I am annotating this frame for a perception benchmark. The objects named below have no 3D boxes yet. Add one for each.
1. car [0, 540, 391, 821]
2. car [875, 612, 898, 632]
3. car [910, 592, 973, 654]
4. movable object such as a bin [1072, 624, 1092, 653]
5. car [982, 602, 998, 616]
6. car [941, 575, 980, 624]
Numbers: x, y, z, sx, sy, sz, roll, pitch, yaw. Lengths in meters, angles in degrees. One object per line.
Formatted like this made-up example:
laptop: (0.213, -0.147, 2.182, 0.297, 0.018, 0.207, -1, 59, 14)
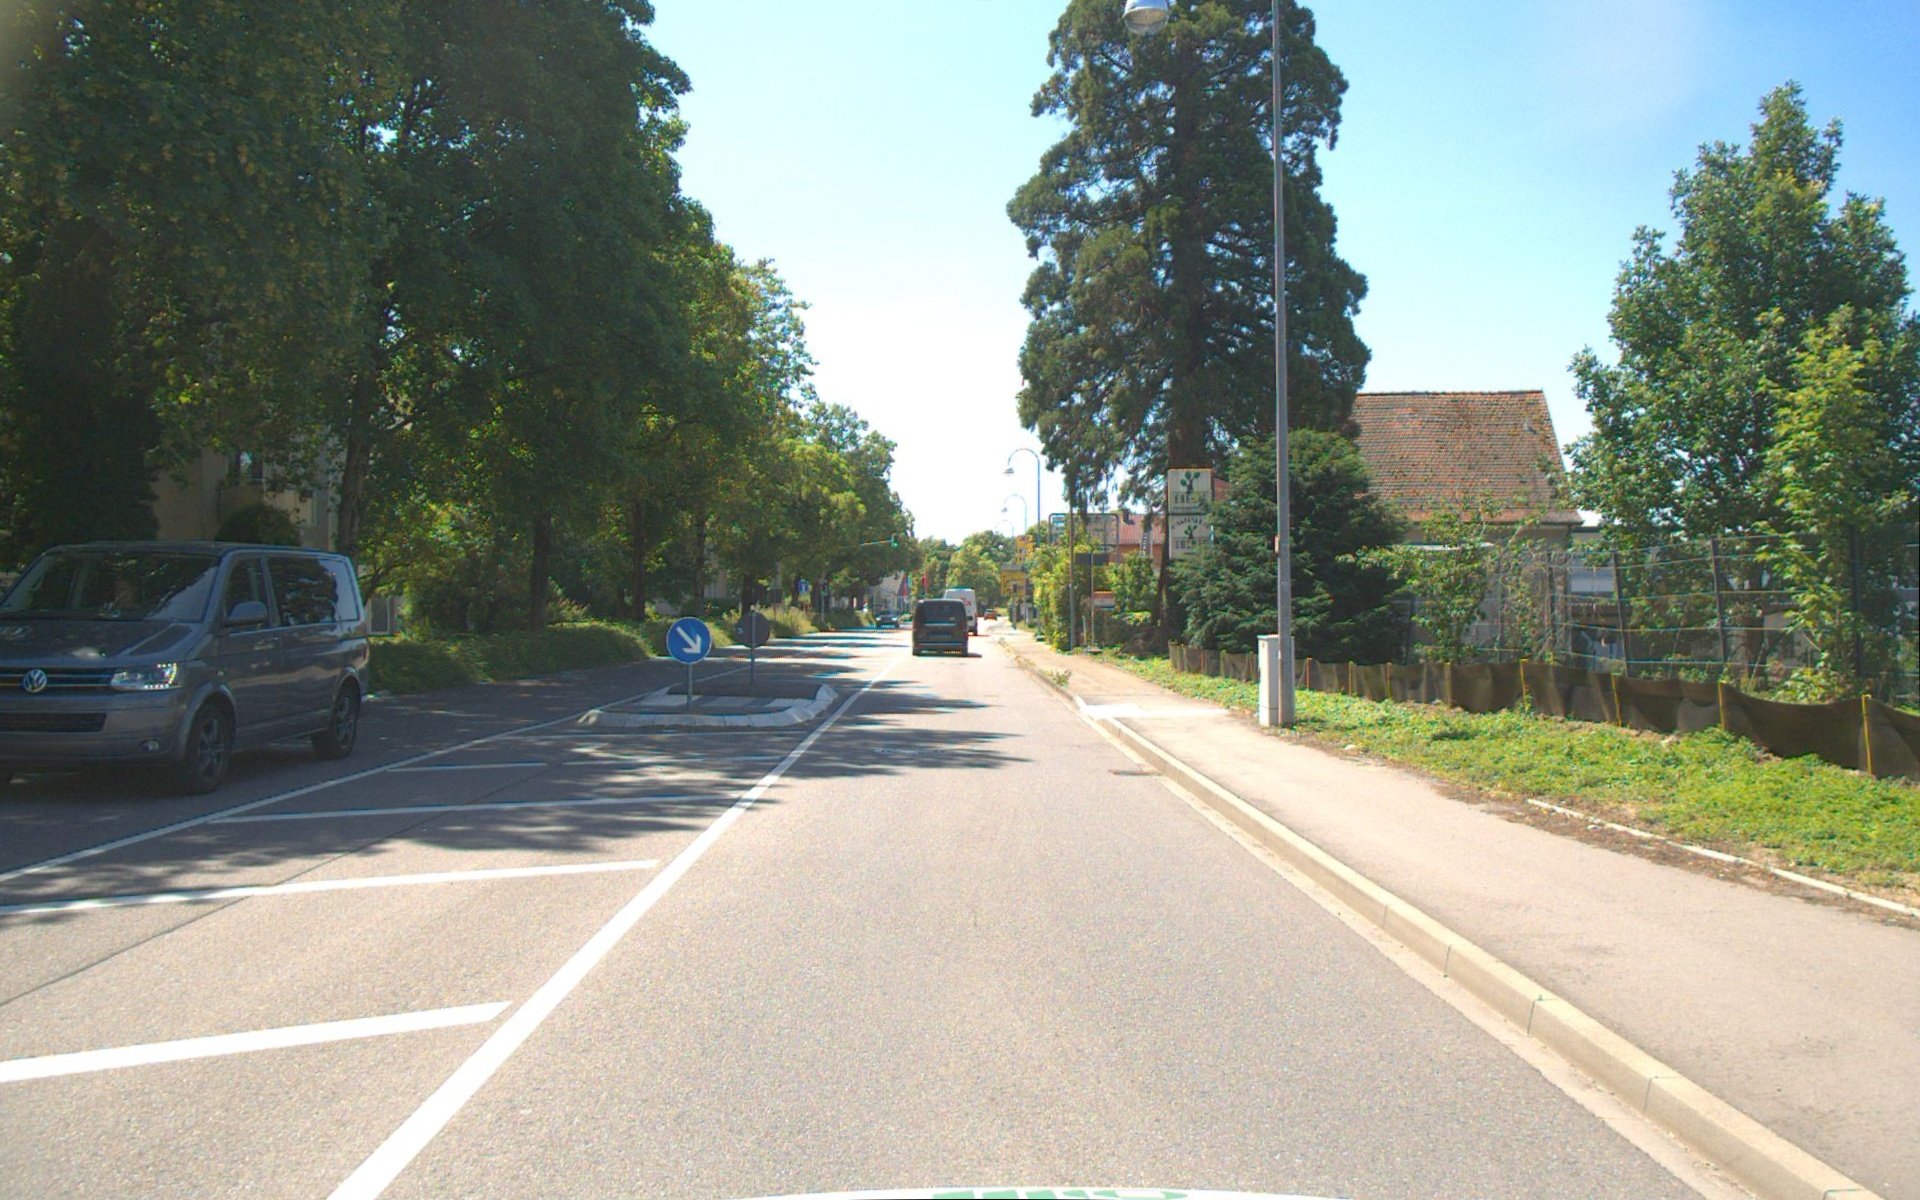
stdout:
car: (-6.589, 0.538, 14.051, 1.954, 1.943, 4.988, 1, 0, -3)
car: (-5.857, 1.746, 131.726, 1.687, 1.452, 4.146, 1, 0, -1)
car: (-0.649, 0.725, 54.987, 1.953, 1.926, 3.998, 1, 1, -2)
movable object such as a bin: (4.101, 1.283, 55.536, 0.462, 0.944, 0.522, 1, -1, 33)
car: (4.091, 1.225, 225.290, 1.821, 1.671, 3.997, 1, 1, -4)
car: (0.046, -0.059, 94.905, 2.076, 2.724, 5.663, 1, 1, 1)
